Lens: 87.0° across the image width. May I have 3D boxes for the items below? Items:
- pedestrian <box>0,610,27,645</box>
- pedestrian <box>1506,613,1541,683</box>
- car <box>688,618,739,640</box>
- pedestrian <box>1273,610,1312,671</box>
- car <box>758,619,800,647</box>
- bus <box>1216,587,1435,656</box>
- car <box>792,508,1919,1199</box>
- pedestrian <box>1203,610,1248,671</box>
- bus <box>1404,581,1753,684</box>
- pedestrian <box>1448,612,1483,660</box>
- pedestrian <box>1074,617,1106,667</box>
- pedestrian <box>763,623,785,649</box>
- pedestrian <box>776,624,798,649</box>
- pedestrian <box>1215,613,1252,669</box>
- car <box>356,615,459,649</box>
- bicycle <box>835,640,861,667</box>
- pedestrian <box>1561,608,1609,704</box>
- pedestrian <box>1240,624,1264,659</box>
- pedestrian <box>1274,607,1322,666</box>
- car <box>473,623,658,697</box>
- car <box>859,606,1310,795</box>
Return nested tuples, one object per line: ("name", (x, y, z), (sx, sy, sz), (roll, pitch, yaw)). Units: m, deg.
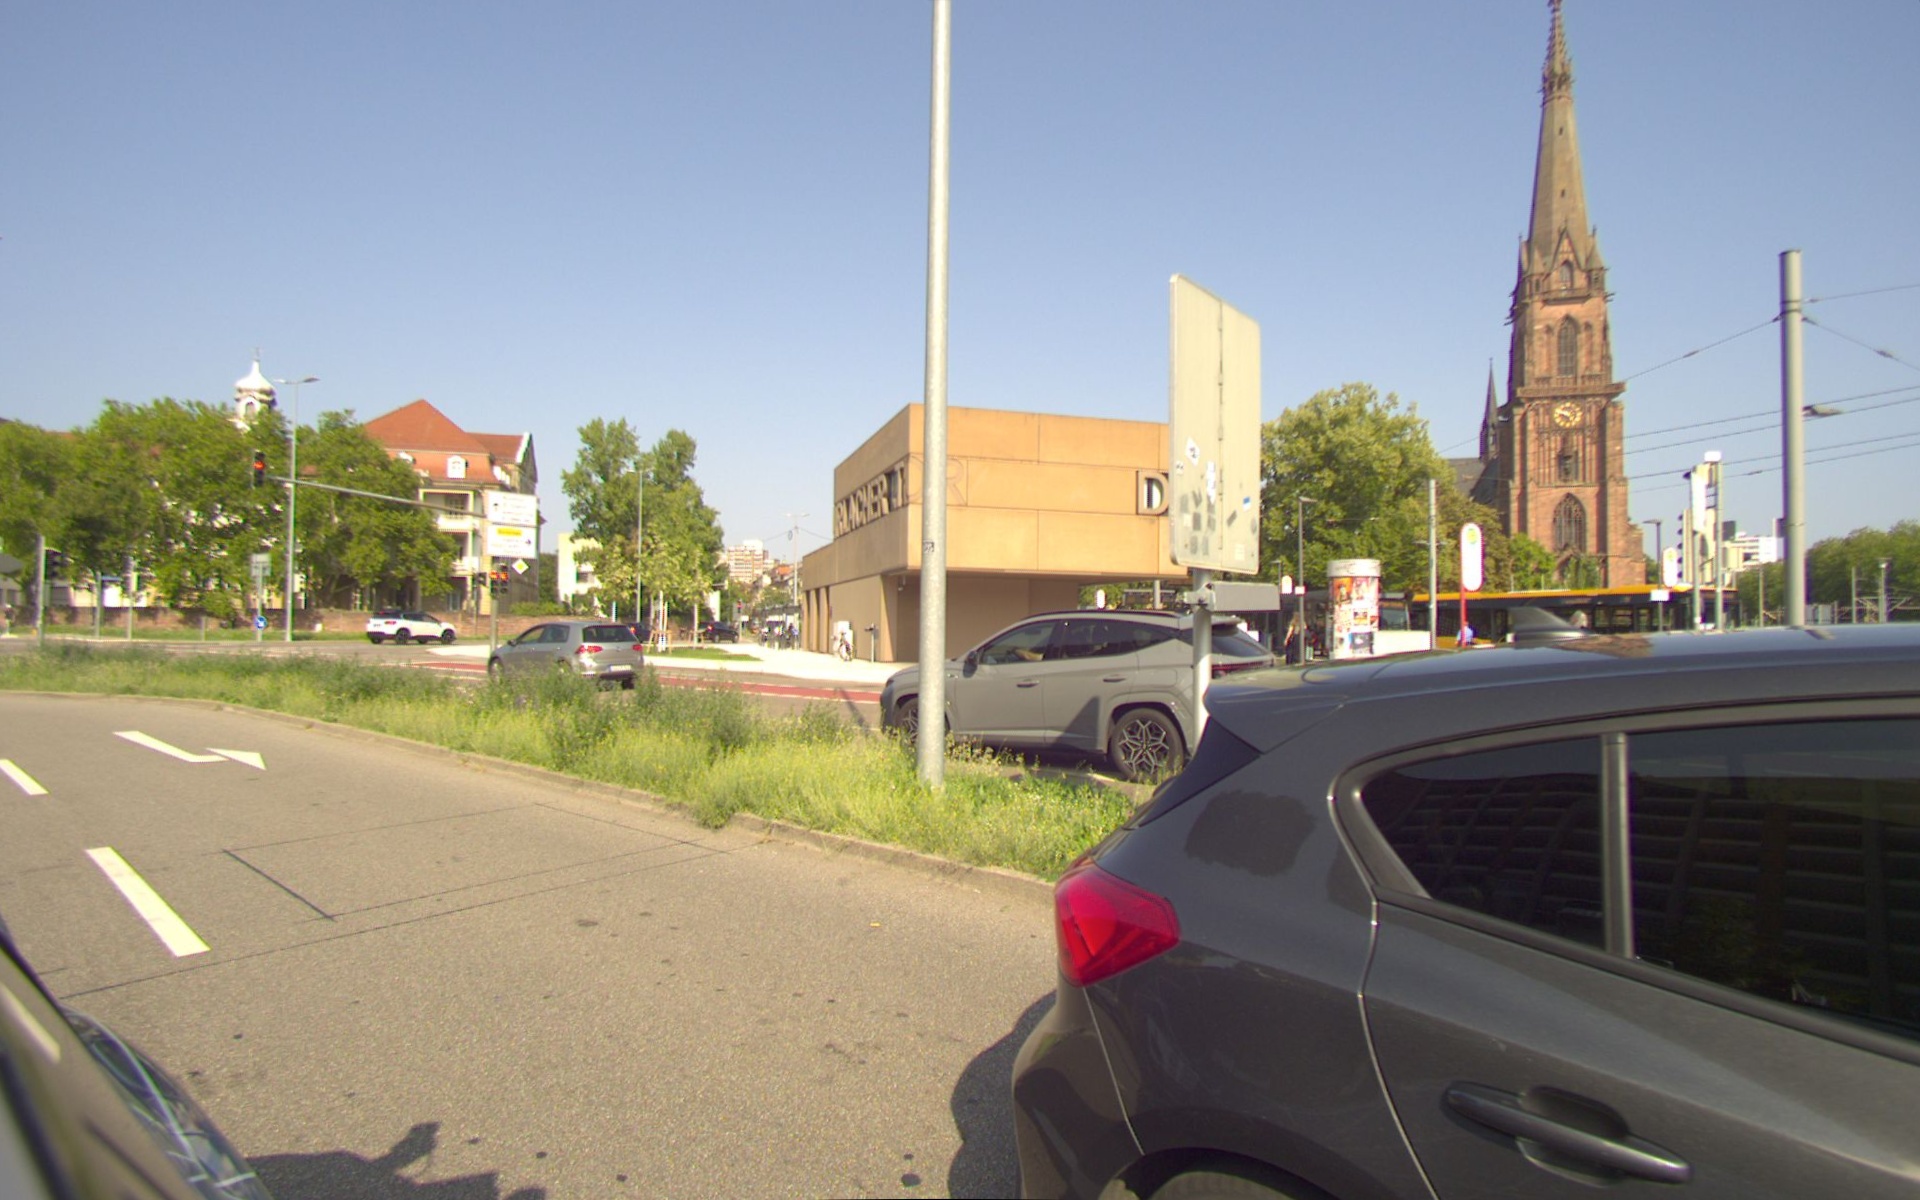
("pedestrian", (-55.981, 1.619, 59.634), (1.311, 2.029, 1.070), (0, -1, 26))
("pedestrian", (14.957, 1.259, 26.856), (0.700, 1.814, 0.770), (-1, -2, 38))
("car", (-19.037, 2.272, 78.340), (1.982, 1.646, 4.349), (0, -2, 16))
("pedestrian", (9.672, 1.172, 29.398), (0.863, 1.718, 0.979), (-1, -2, 33))
("car", (-17.768, 3.220, 99.548), (1.980, 2.470, 5.528), (-1, 0, 13))
("bus", (17.525, 1.123, 50.257), (3.243, 3.000, 12.834), (1, -2, -16))
("car", (1.927, 0.648, 1.159), (4.551, 1.446, 1.812), (-1, -2, 43))
("pedestrian", (7.854, 1.200, 29.977), (0.973, 1.783, 0.868), (2, -2, -35))
("bus", (21.702, 1.190, 37.091), (2.670, 3.132, 12.250), (1, -2, -16))
("pedestrian", (18.765, 1.322, 37.577), (0.817, 1.752, 0.838), (1, -2, -15))
("pedestrian", (4.535, 1.468, 35.297), (0.851, 1.718, 0.734), (1, -2, -20))
("pedestrian", (-15.033, 2.920, 81.685), (1.204, 2.029, 1.333), (-1, -2, 23))
("pedestrian", (-14.206, 2.962, 83.225), (1.204, 2.029, 1.333), (-1, -2, 23))
("pedestrian", (8.396, 1.246, 31.061), (0.863, 1.685, 0.979), (-1, -2, 33))
("car", (-27.523, 1.598, 50.555), (1.984, 1.646, 4.346), (0, -2, 18))
("bicycle", (-3.737, 1.759, 33.615), (0.583, 0.844, 1.551), (-2, -1, -16))
("pedestrian", (12.099, 1.072, 19.596), (0.700, 1.814, 0.770), (-1, -2, 38))
("pedestrian", (14.717, 2.080, 50.997), (0.816, 1.719, 0.838), (1, -2, -23))
("pedestrian", (9.171, 0.984, 27.508), (0.852, 1.571, 0.992), (1, -2, -10))
("car", (-8.556, 1.225, 21.823), (4.218, 1.444, 1.796), (-1, -2, 38))
("car", (1.192, 0.909, 10.663), (4.450, 1.629, 1.679), (-1, -2, 34))
